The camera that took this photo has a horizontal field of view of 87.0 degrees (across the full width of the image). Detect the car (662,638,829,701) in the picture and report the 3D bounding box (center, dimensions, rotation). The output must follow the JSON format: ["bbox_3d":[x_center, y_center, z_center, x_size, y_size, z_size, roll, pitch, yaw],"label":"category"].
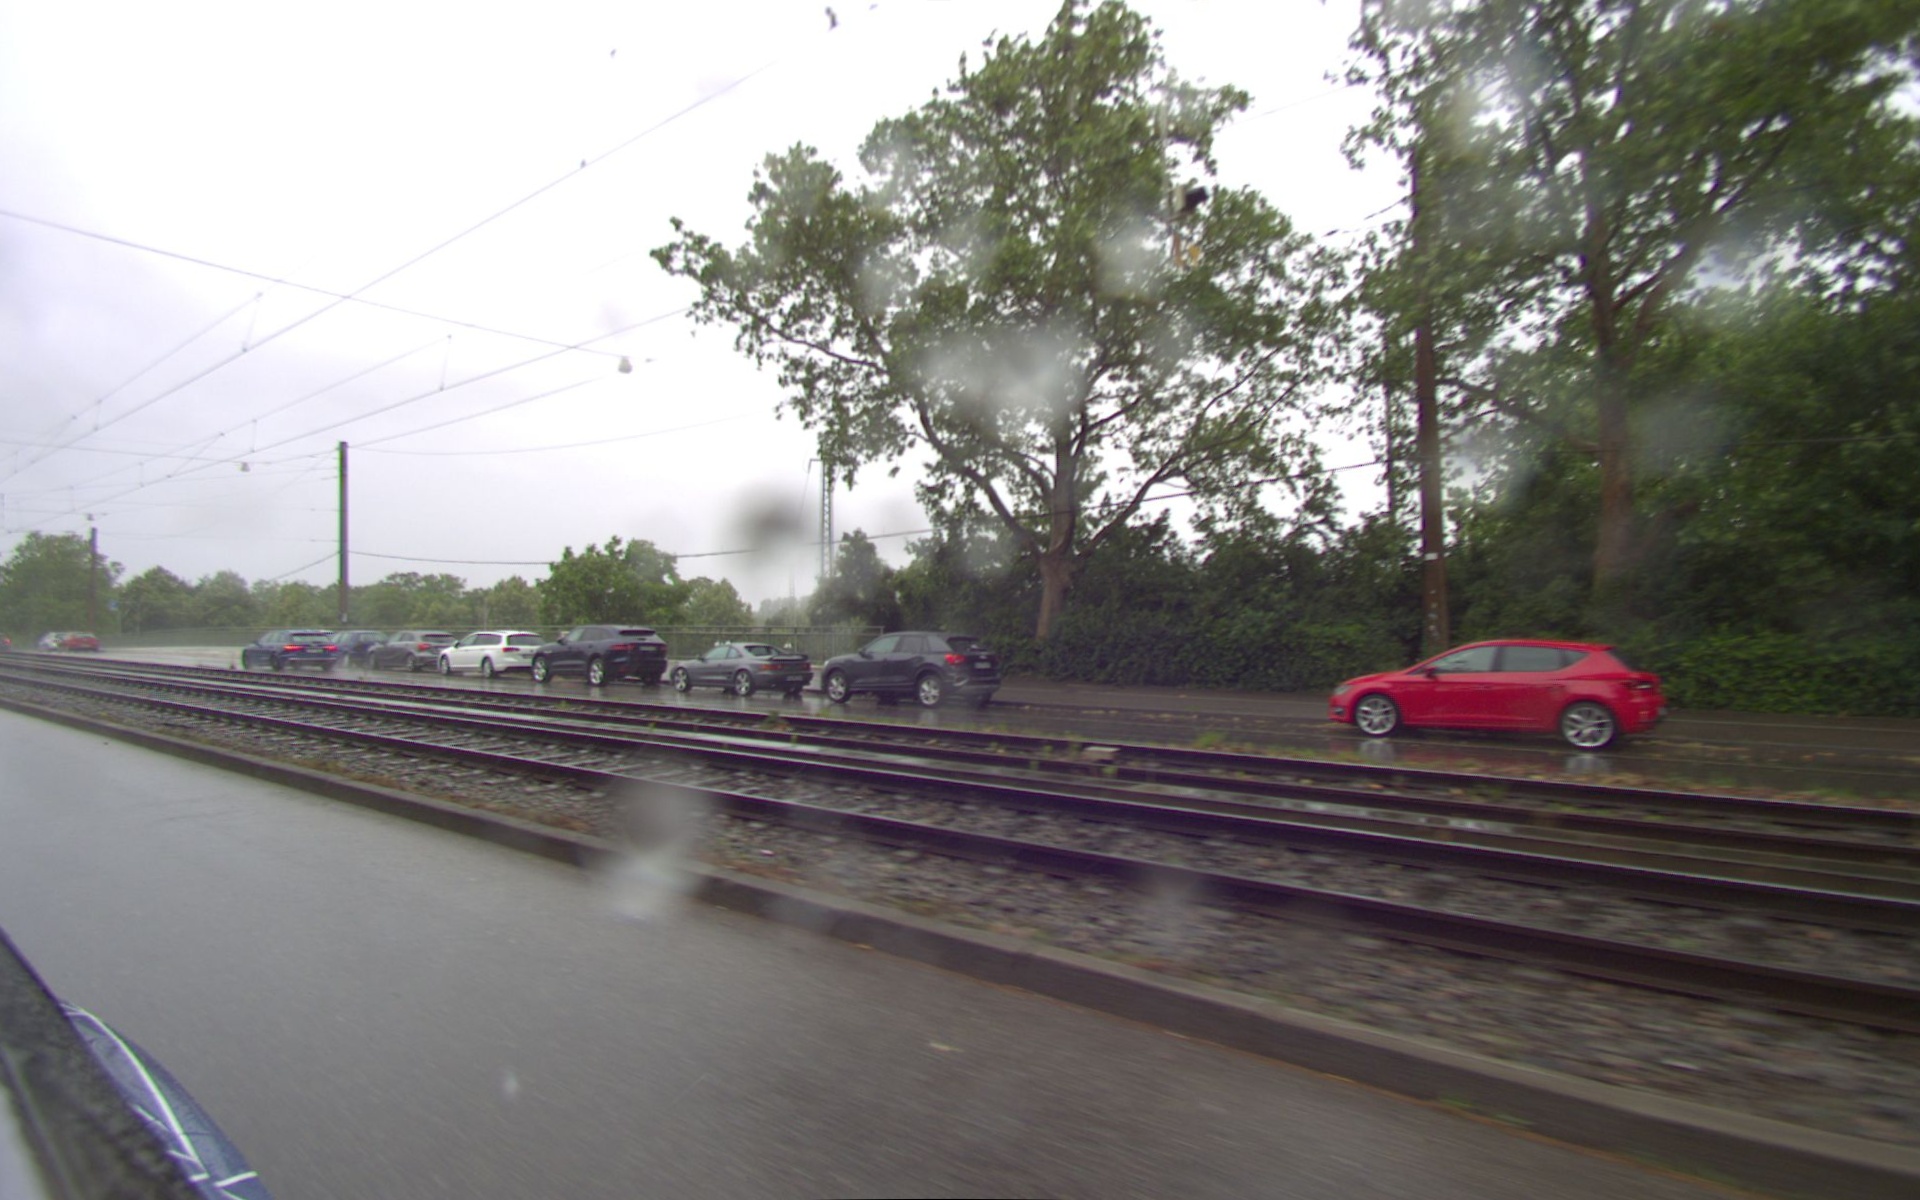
[{"bbox_3d":[-5.271,1.635,24.678,3.960,1.389,1.867,-1,-3,38],"label":"car"}]

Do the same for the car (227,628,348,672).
[{"bbox_3d":[-23.870,1.741,35.849,4.909,1.478,2.014,-1,-3,37],"label":"car"}]

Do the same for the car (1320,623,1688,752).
[{"bbox_3d":[7.685,1.150,14.499,4.379,1.564,2.014,-1,-3,38],"label":"car"}]

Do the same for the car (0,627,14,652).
[{"bbox_3d":[-67.954,2.772,70.909,3.997,1.729,1.973,-1,-1,40],"label":"car"}]

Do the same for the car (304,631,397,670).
[{"bbox_3d":[-23.909,1.950,39.657,3.917,1.442,1.634,-1,-3,35],"label":"car"}]

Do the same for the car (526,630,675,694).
[{"bbox_3d":[-10.133,1.685,28.400,4.363,1.663,1.867,-1,-3,38],"label":"car"}]

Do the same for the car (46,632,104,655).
[{"bbox_3d":[-59.888,2.946,68.466,4.909,1.478,2.015,-2,-2,37],"label":"car"}]

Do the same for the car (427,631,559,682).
[{"bbox_3d":[-14.941,1.752,32.287,4.571,1.522,1.868,-1,-3,37],"label":"car"}]

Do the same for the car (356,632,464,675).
[{"bbox_3d":[-19.609,1.864,36.031,4.121,1.442,1.634,-1,-3,34],"label":"car"}]

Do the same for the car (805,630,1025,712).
[{"bbox_3d":[-1.008,1.426,21.393,4.377,1.564,2.014,-1,-3,37],"label":"car"}]
